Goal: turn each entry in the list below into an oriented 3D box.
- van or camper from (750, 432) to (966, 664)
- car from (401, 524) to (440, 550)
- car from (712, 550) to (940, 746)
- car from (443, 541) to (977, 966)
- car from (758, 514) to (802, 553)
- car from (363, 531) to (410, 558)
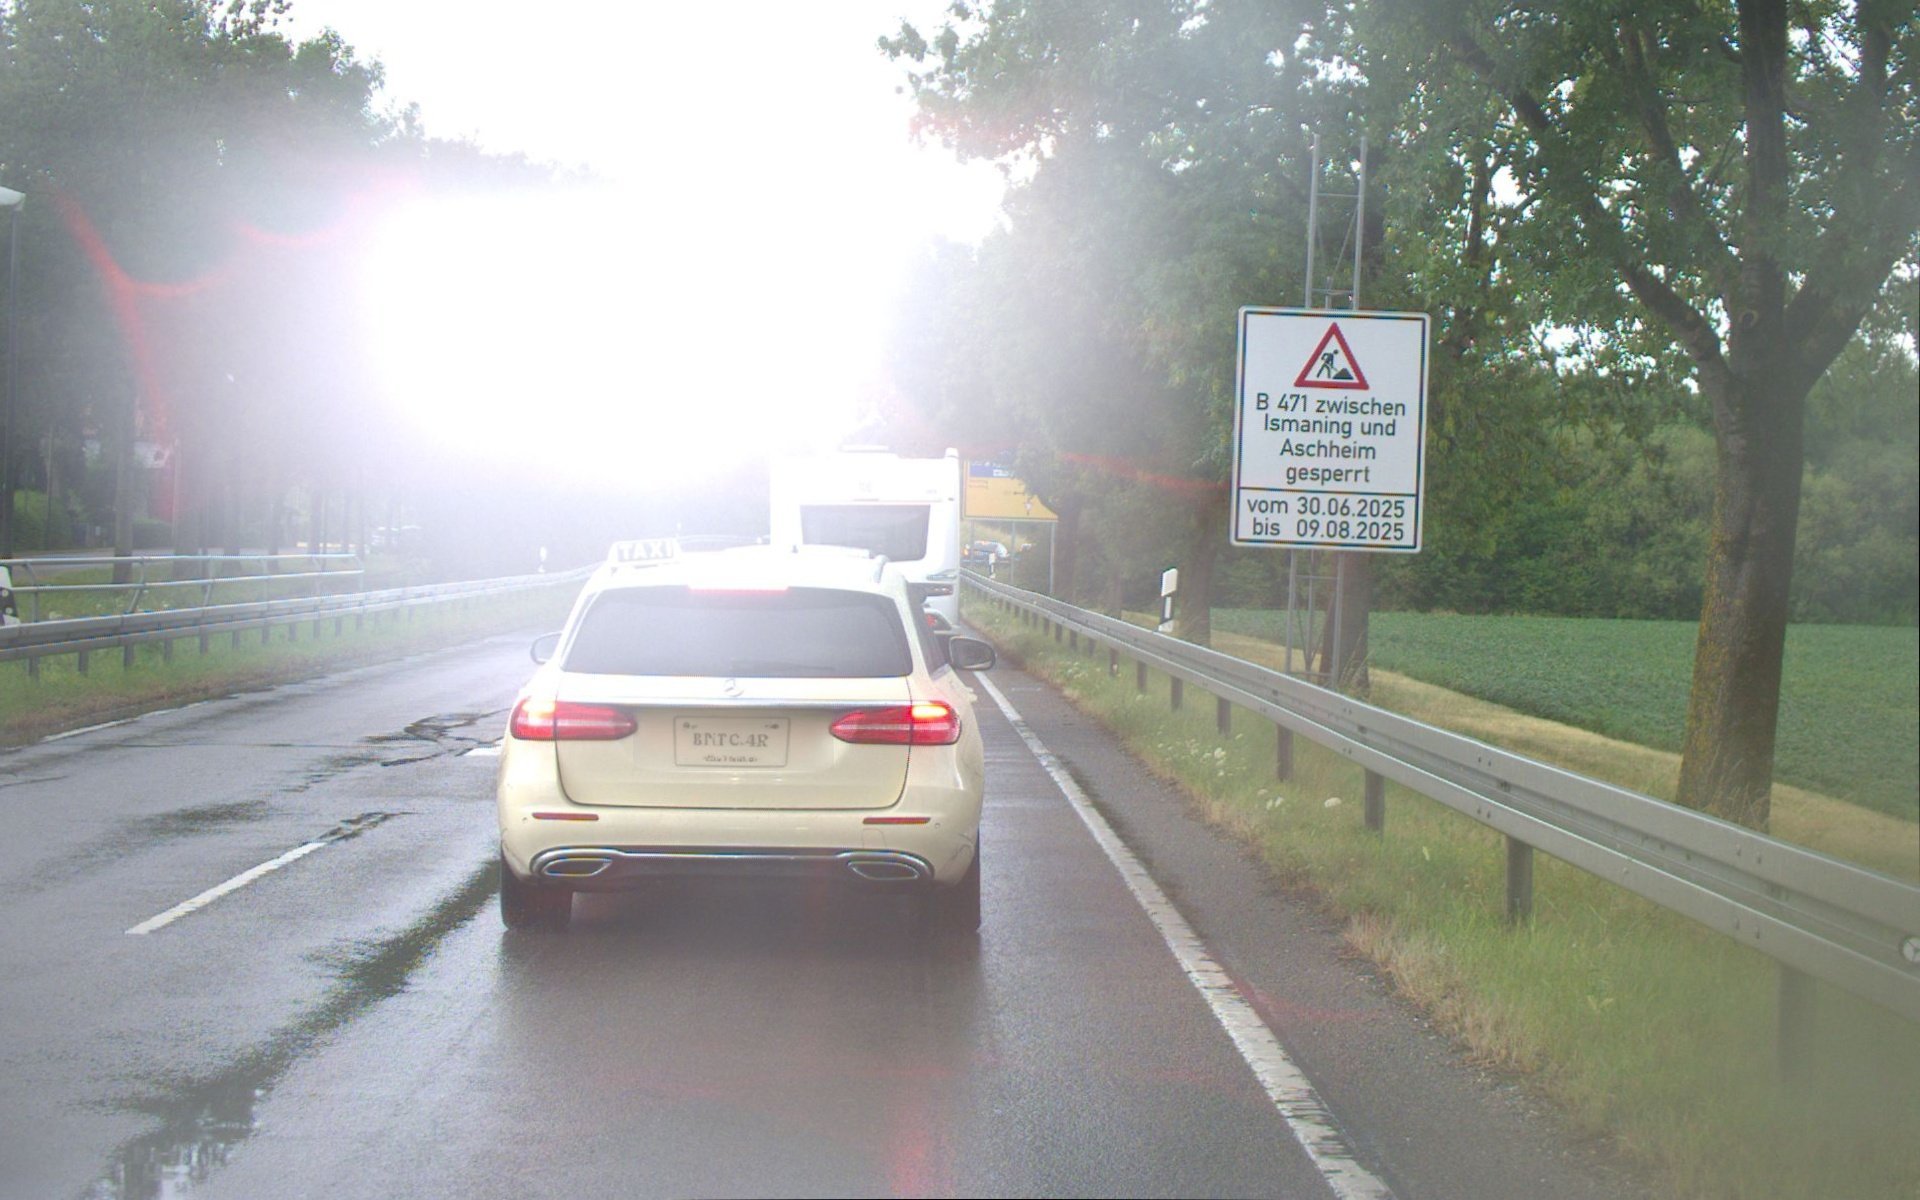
[{"bbox_3d":[-1.205,-0.661,43.147,2.489,2.676,5.700,1,1,0],"label":"van or camper"},{"bbox_3d":[-31.003,-3.634,197.621,1.785,1.411,4.001,2,1,-3],"label":"car"},{"bbox_3d":[-1.004,0.326,27.411,1.664,1.426,4.000,0,1,0],"label":"car"},{"bbox_3d":[-0.881,0.505,14.053,1.865,1.471,4.000,0,1,0],"label":"car"},{"bbox_3d":[-7.567,-2.812,144.966,1.764,1.614,4.001,0,1,-2],"label":"car"},{"bbox_3d":[-30.728,-2.987,184.306,1.785,1.411,4.000,2,1,0],"label":"car"}]
